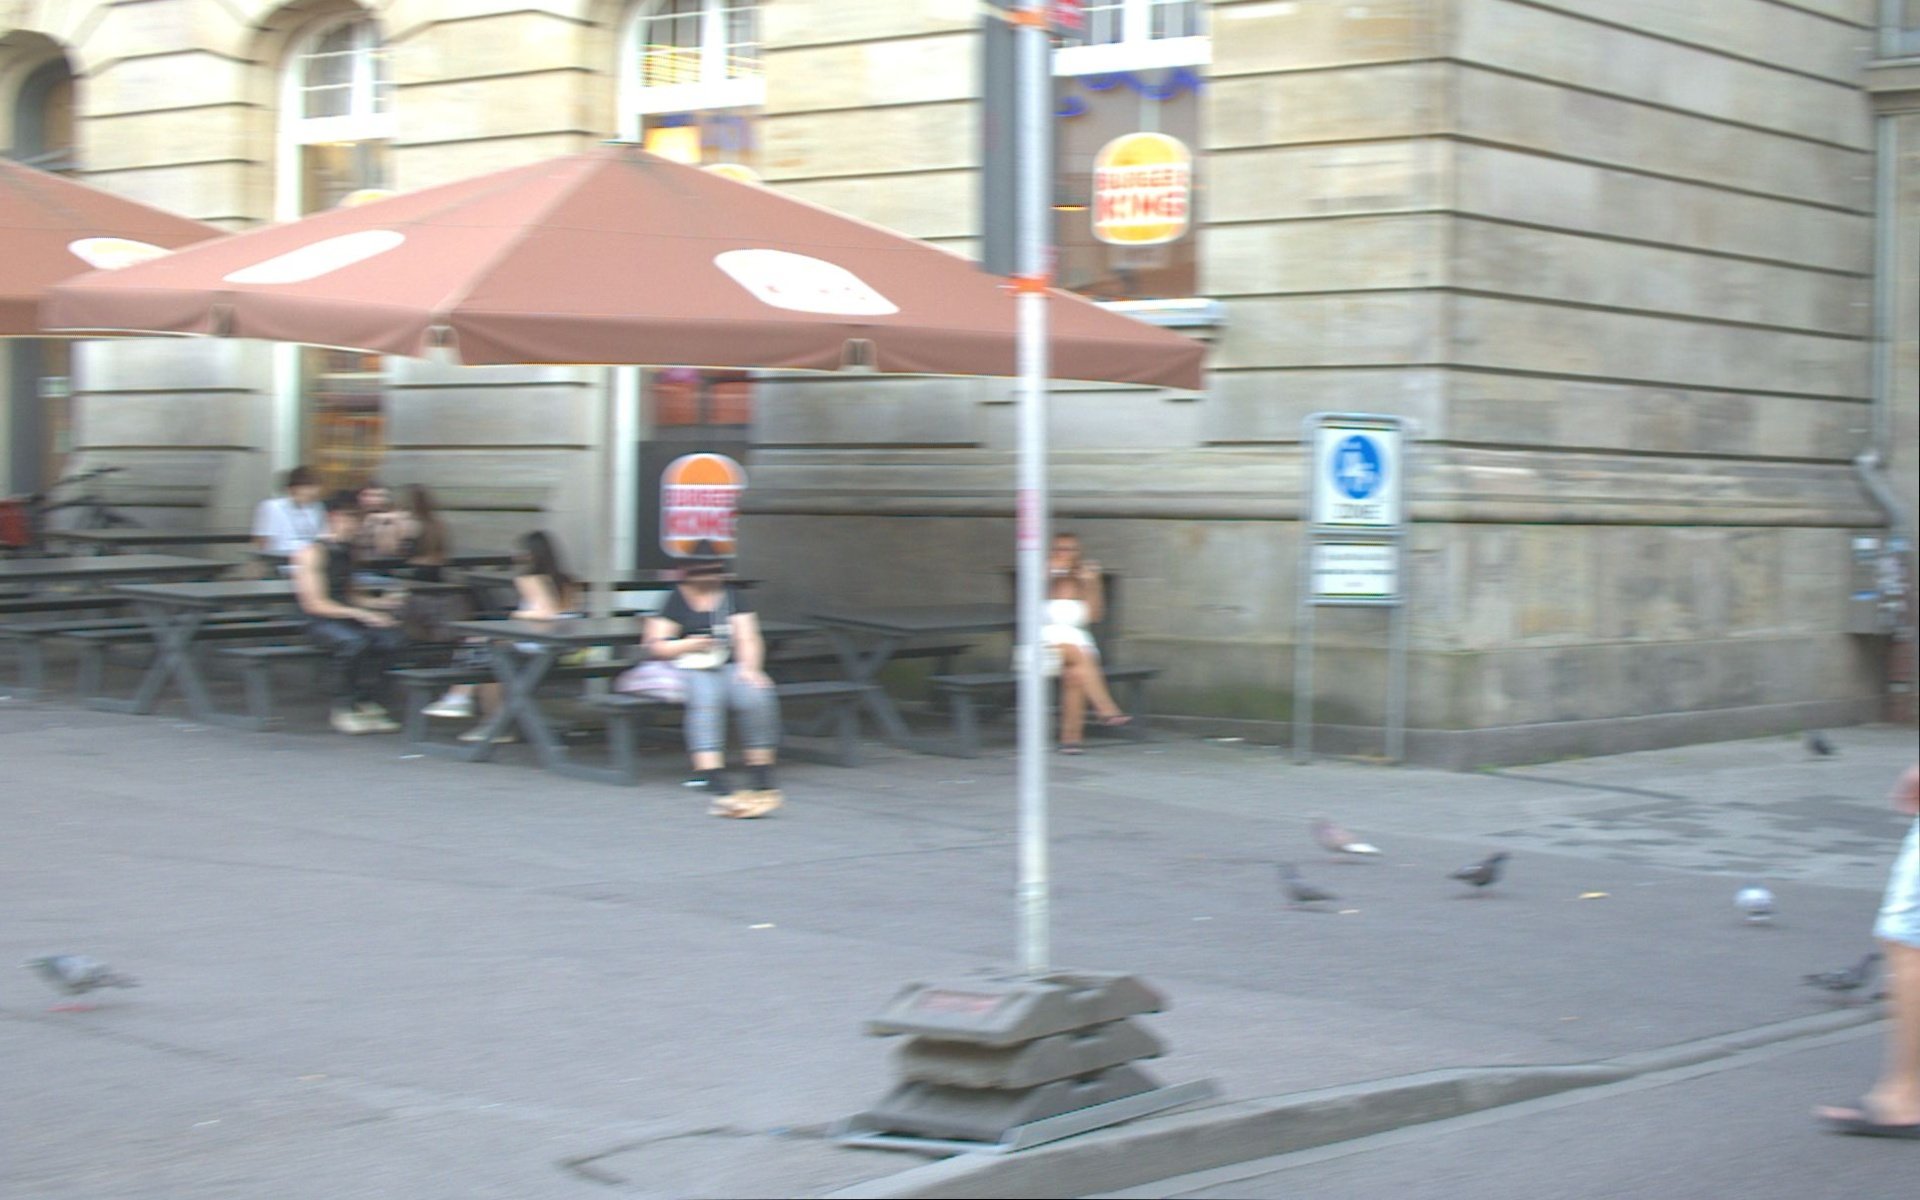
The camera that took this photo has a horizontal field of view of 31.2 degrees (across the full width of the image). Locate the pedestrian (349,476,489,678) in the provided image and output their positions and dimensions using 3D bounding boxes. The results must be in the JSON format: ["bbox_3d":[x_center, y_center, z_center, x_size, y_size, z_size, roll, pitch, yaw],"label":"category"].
[{"bbox_3d":[-3.636,-0.157,23.113,0.608,1.304,0.608,5,3,34],"label":"pedestrian"}]

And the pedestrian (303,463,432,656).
[{"bbox_3d":[-4.172,-0.285,24.201,0.581,1.304,0.592,5,3,36],"label":"pedestrian"}]

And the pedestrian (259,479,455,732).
[{"bbox_3d":[-3.425,0.030,19.527,0.804,1.378,0.653,1,3,-41],"label":"pedestrian"}]

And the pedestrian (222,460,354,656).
[{"bbox_3d":[-4.638,-0.290,23.731,0.581,1.304,0.593,5,3,34],"label":"pedestrian"}]

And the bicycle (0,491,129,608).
[{"bbox_3d":[-7.187,-0.405,27.037,0.410,0.891,1.319,3,3,34],"label":"bicycle"}]

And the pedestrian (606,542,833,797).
[{"bbox_3d":[-1.252,0.351,17.819,0.779,1.238,0.828,2,3,-38],"label":"pedestrian"}]

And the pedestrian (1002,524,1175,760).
[{"bbox_3d":[0.747,0.235,20.183,0.662,1.304,0.773,0,5,-27],"label":"pedestrian"}]

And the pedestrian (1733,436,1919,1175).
[{"bbox_3d":[2.612,0.517,8.888,0.873,1.833,0.804,2,0,38],"label":"pedestrian"}]

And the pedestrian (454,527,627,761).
[{"bbox_3d":[-2.311,0.236,18.928,0.615,1.222,0.701,2,3,-37],"label":"pedestrian"}]
